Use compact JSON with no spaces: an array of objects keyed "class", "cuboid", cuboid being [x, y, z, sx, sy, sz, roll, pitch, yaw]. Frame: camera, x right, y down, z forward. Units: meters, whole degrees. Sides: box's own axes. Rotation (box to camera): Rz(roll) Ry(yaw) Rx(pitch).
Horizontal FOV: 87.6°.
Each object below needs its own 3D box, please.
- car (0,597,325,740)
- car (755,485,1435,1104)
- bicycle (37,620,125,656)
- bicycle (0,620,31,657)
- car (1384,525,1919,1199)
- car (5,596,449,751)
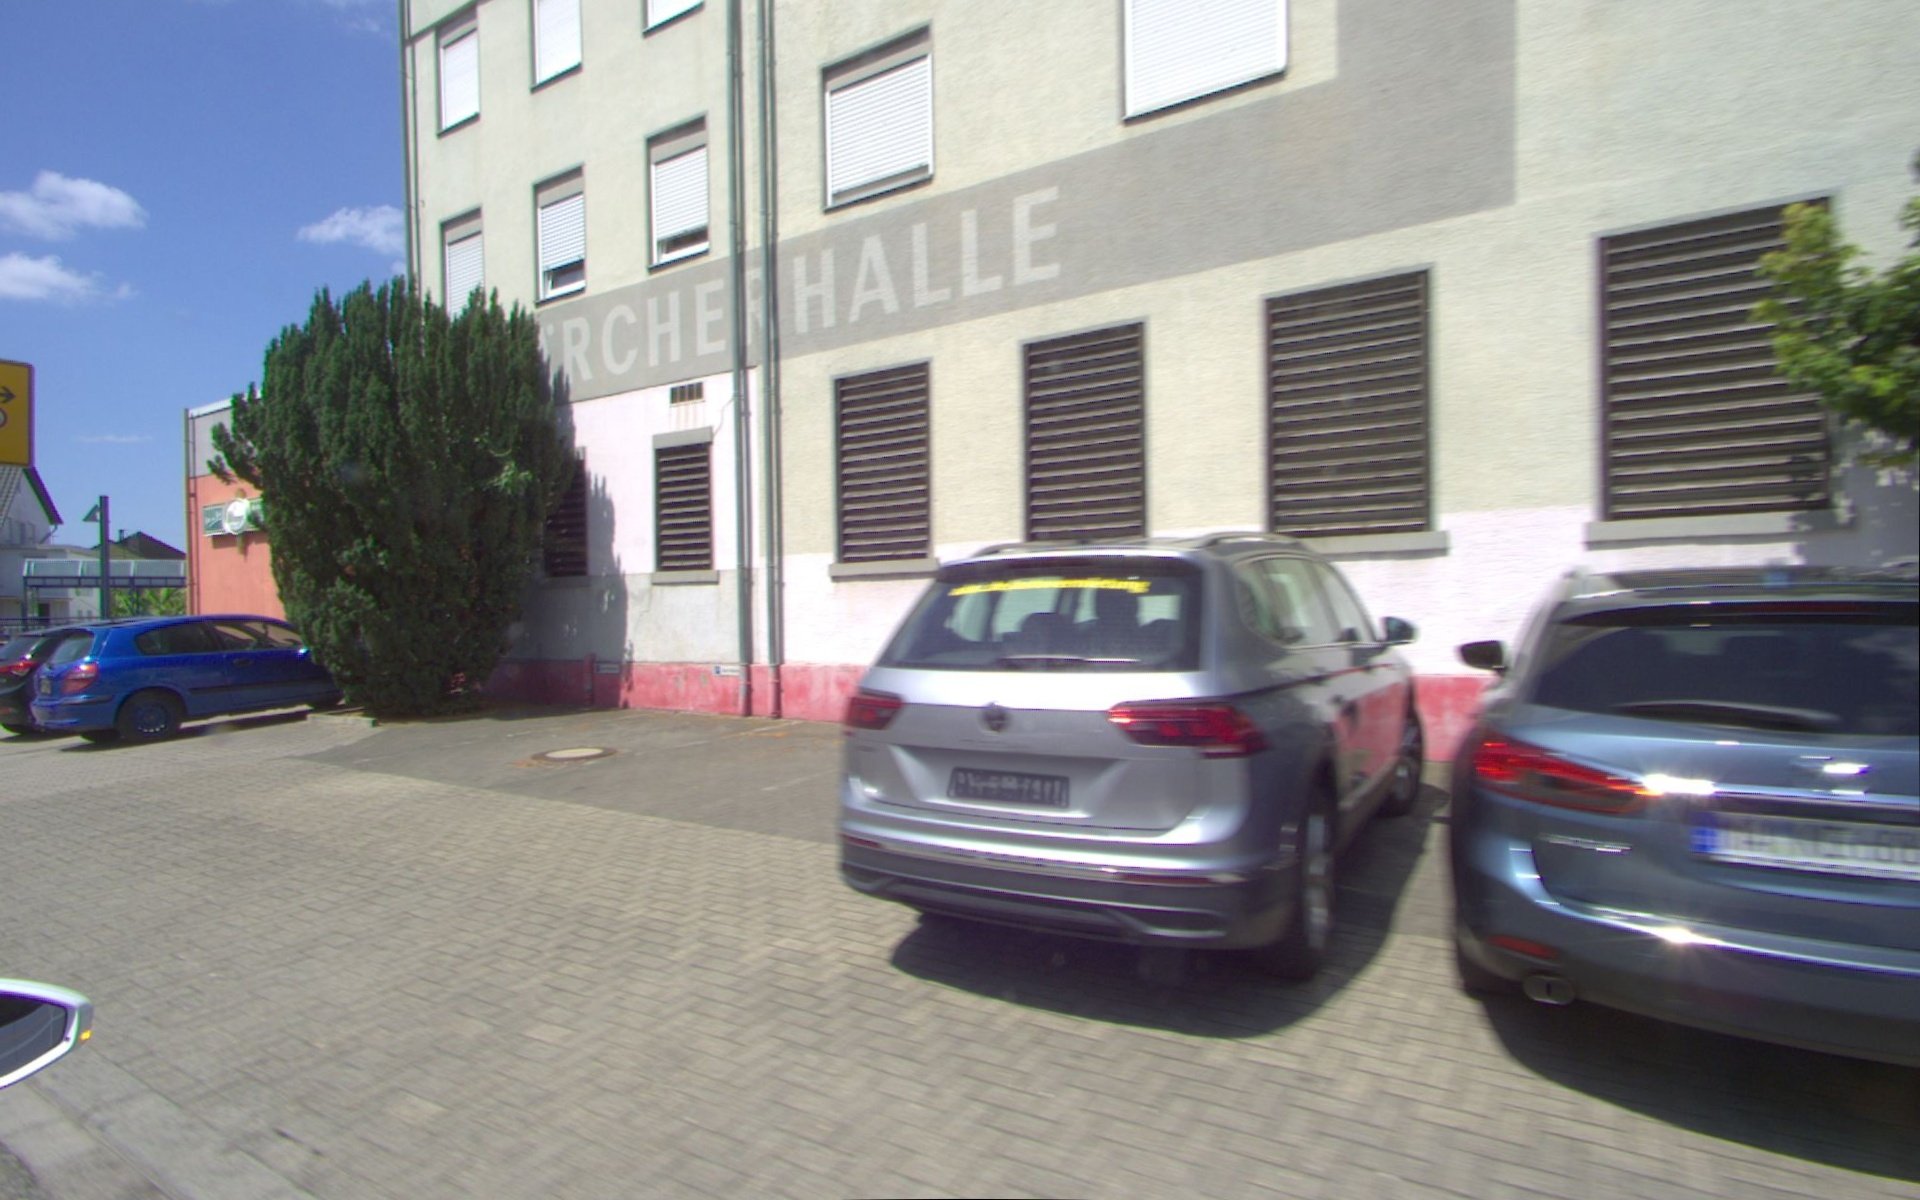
[{"class":"car","cuboid":[-12.068,0.912,14.942,1.784,1.511,3.884,-3,4,31]},{"class":"car","cuboid":[1.191,0.495,5.173,1.894,1.720,4.444,-1,1,31]},{"class":"bicycle","cuboid":[-28.429,1.227,32.420,2.096,1.140,0.389,1,-1,-37]},{"class":"bicycle","cuboid":[-30.246,1.201,31.029,2.096,1.140,0.330,1,-1,-37]},{"class":"car","cuboid":[3.161,0.548,4.095,1.971,1.540,4.490,-1,1,32]},{"class":"car","cuboid":[-9.358,0.848,13.202,1.755,1.459,4.311,-4,1,32]}]
